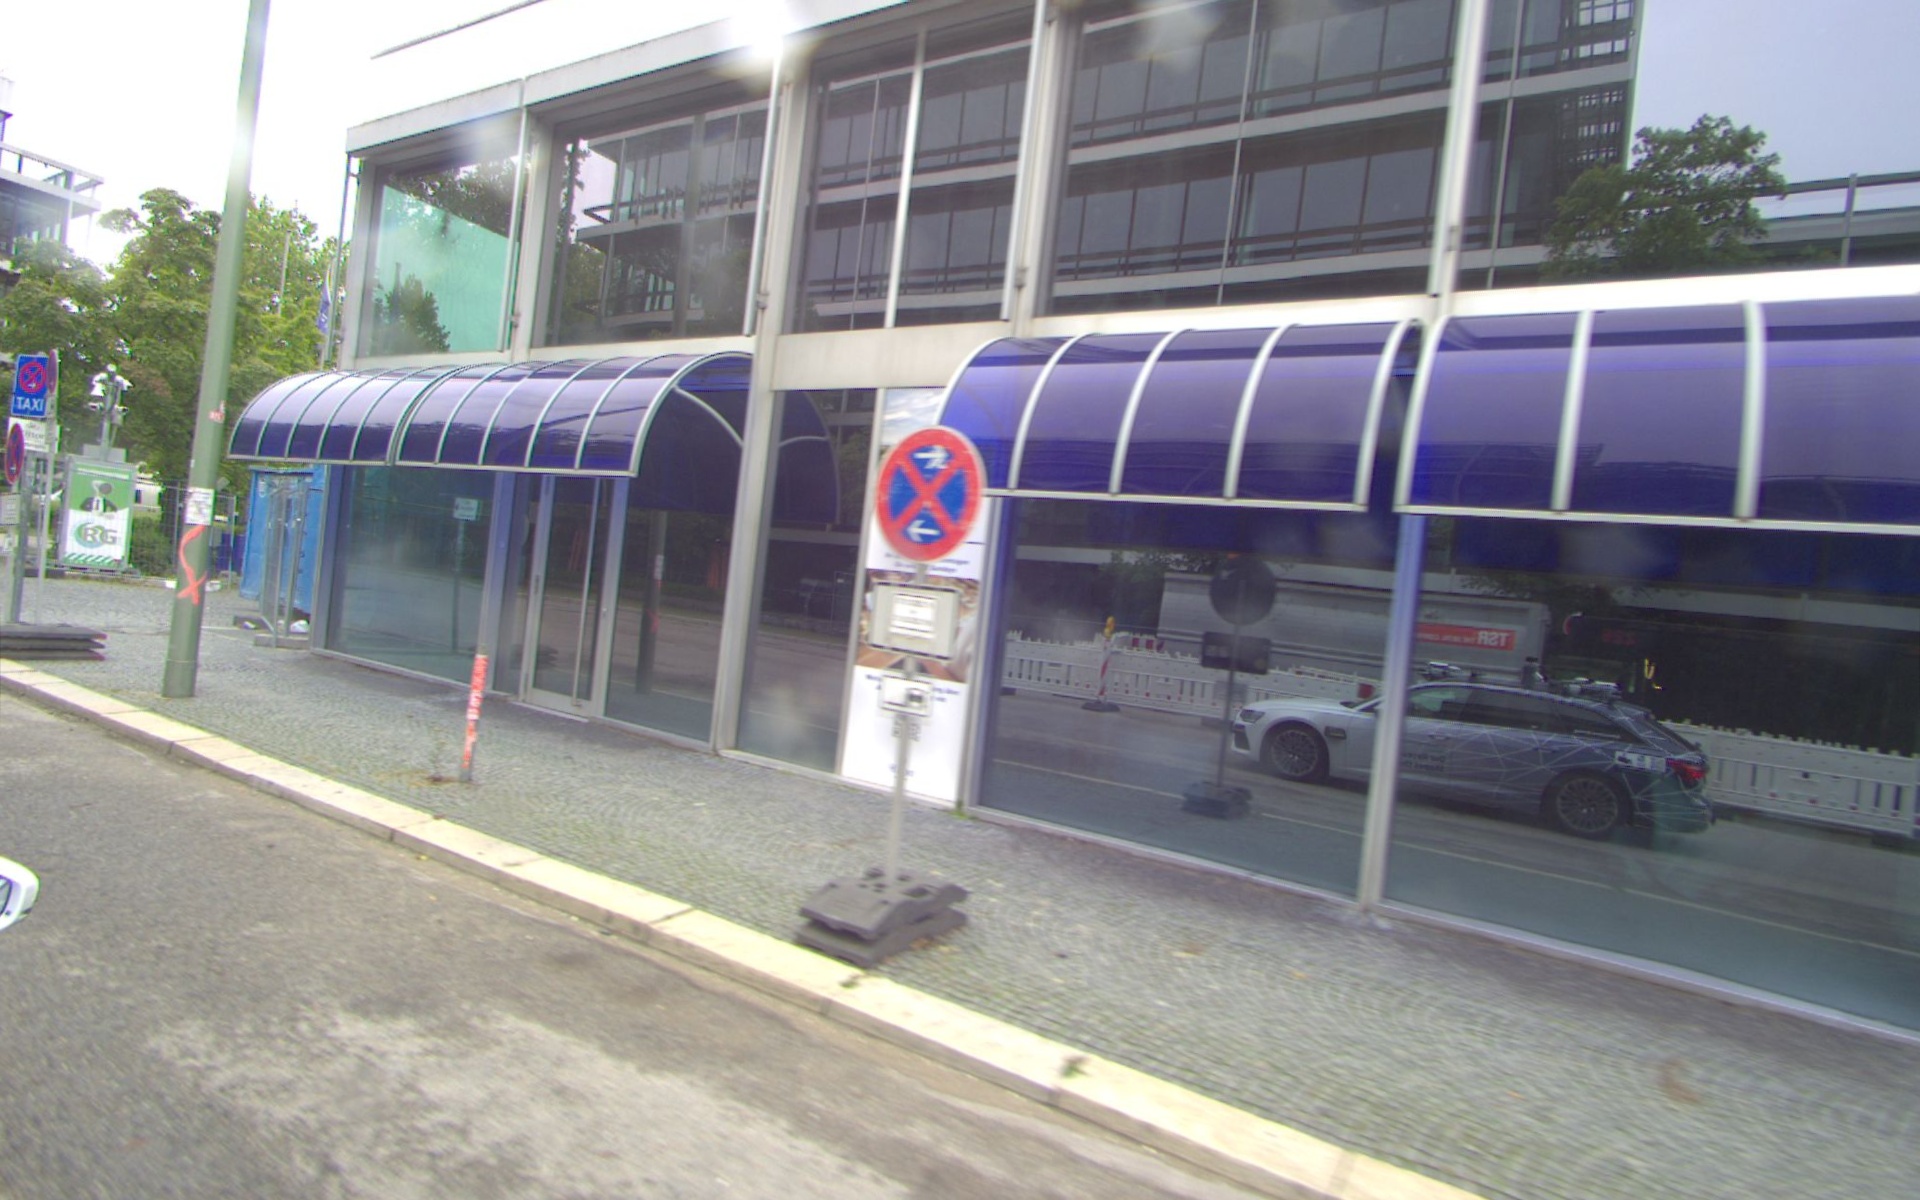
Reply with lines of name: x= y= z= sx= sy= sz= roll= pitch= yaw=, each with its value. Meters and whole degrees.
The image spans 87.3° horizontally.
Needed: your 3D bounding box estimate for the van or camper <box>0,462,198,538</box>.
van or camper: x=-38.658 y=-4.421 z=45.462 sx=2.213 sy=2.309 sz=6.421 roll=7 pitch=-1 yaw=18
